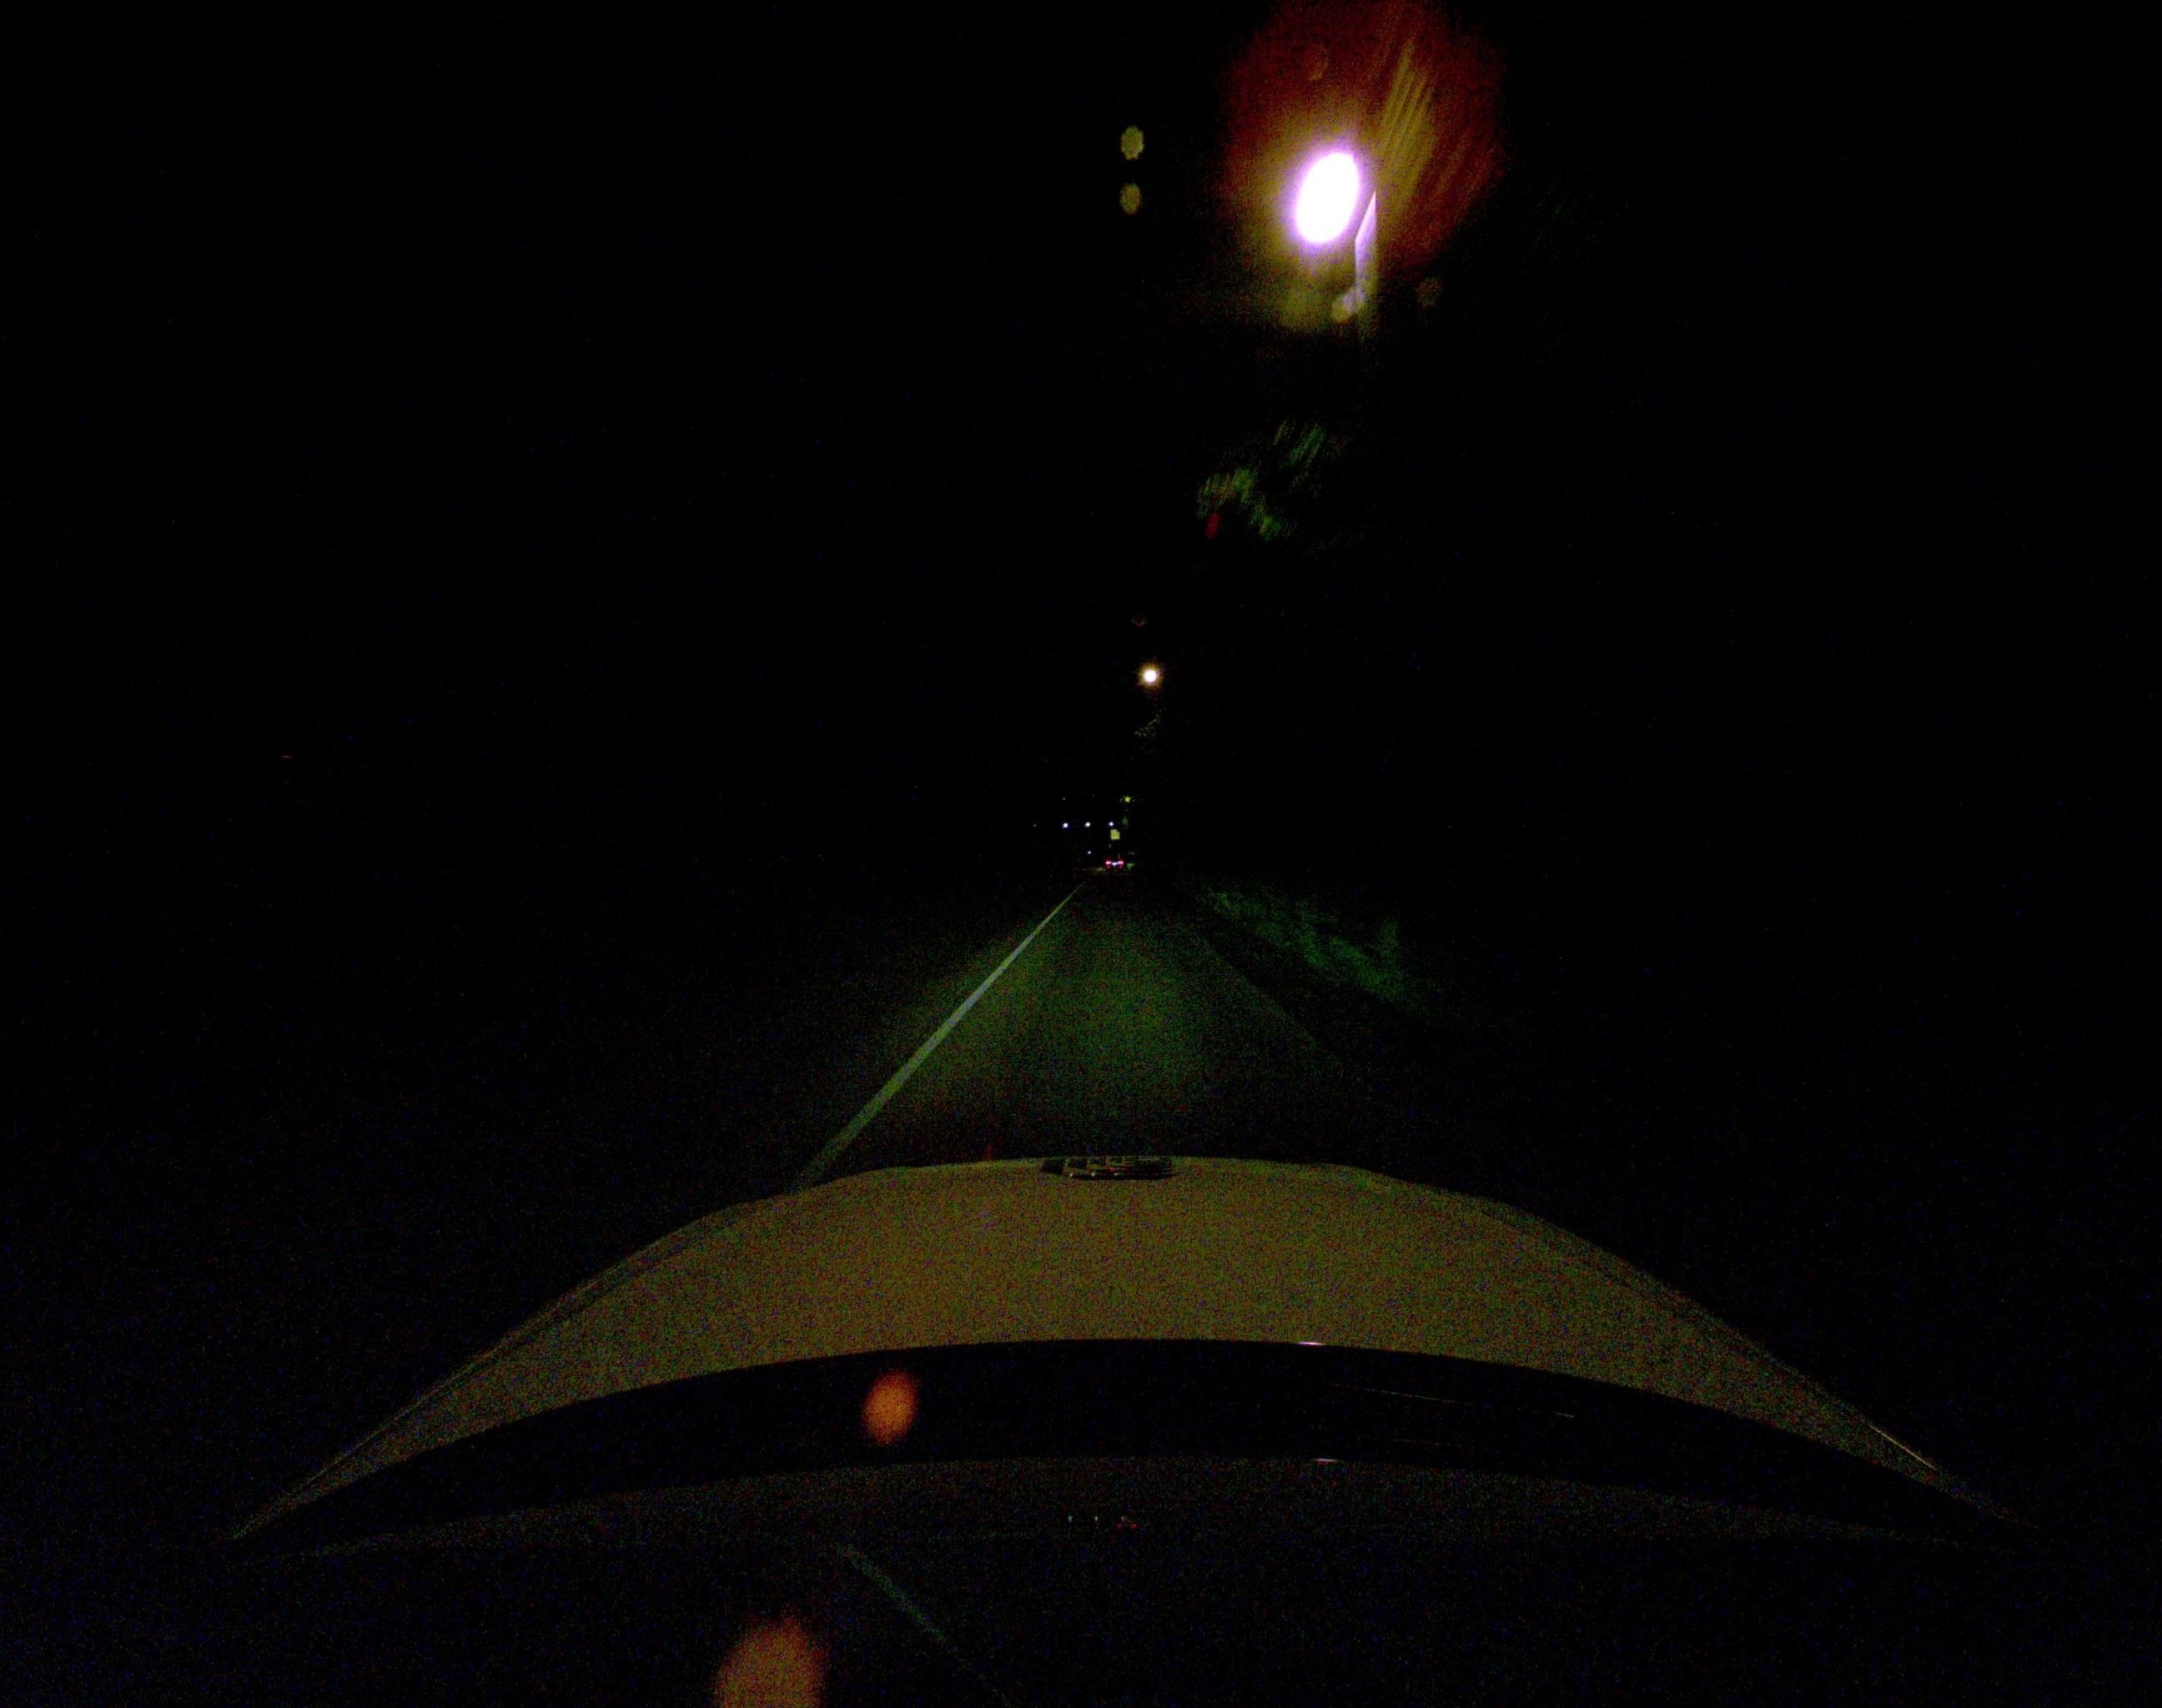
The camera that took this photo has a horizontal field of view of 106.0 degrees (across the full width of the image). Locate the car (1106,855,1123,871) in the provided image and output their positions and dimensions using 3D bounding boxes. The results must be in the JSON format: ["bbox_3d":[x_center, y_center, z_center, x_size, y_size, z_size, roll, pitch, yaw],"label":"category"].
[{"bbox_3d":[3.589,0.939,87.645,1.756,1.641,3.726,-1,0,3],"label":"car"}]
